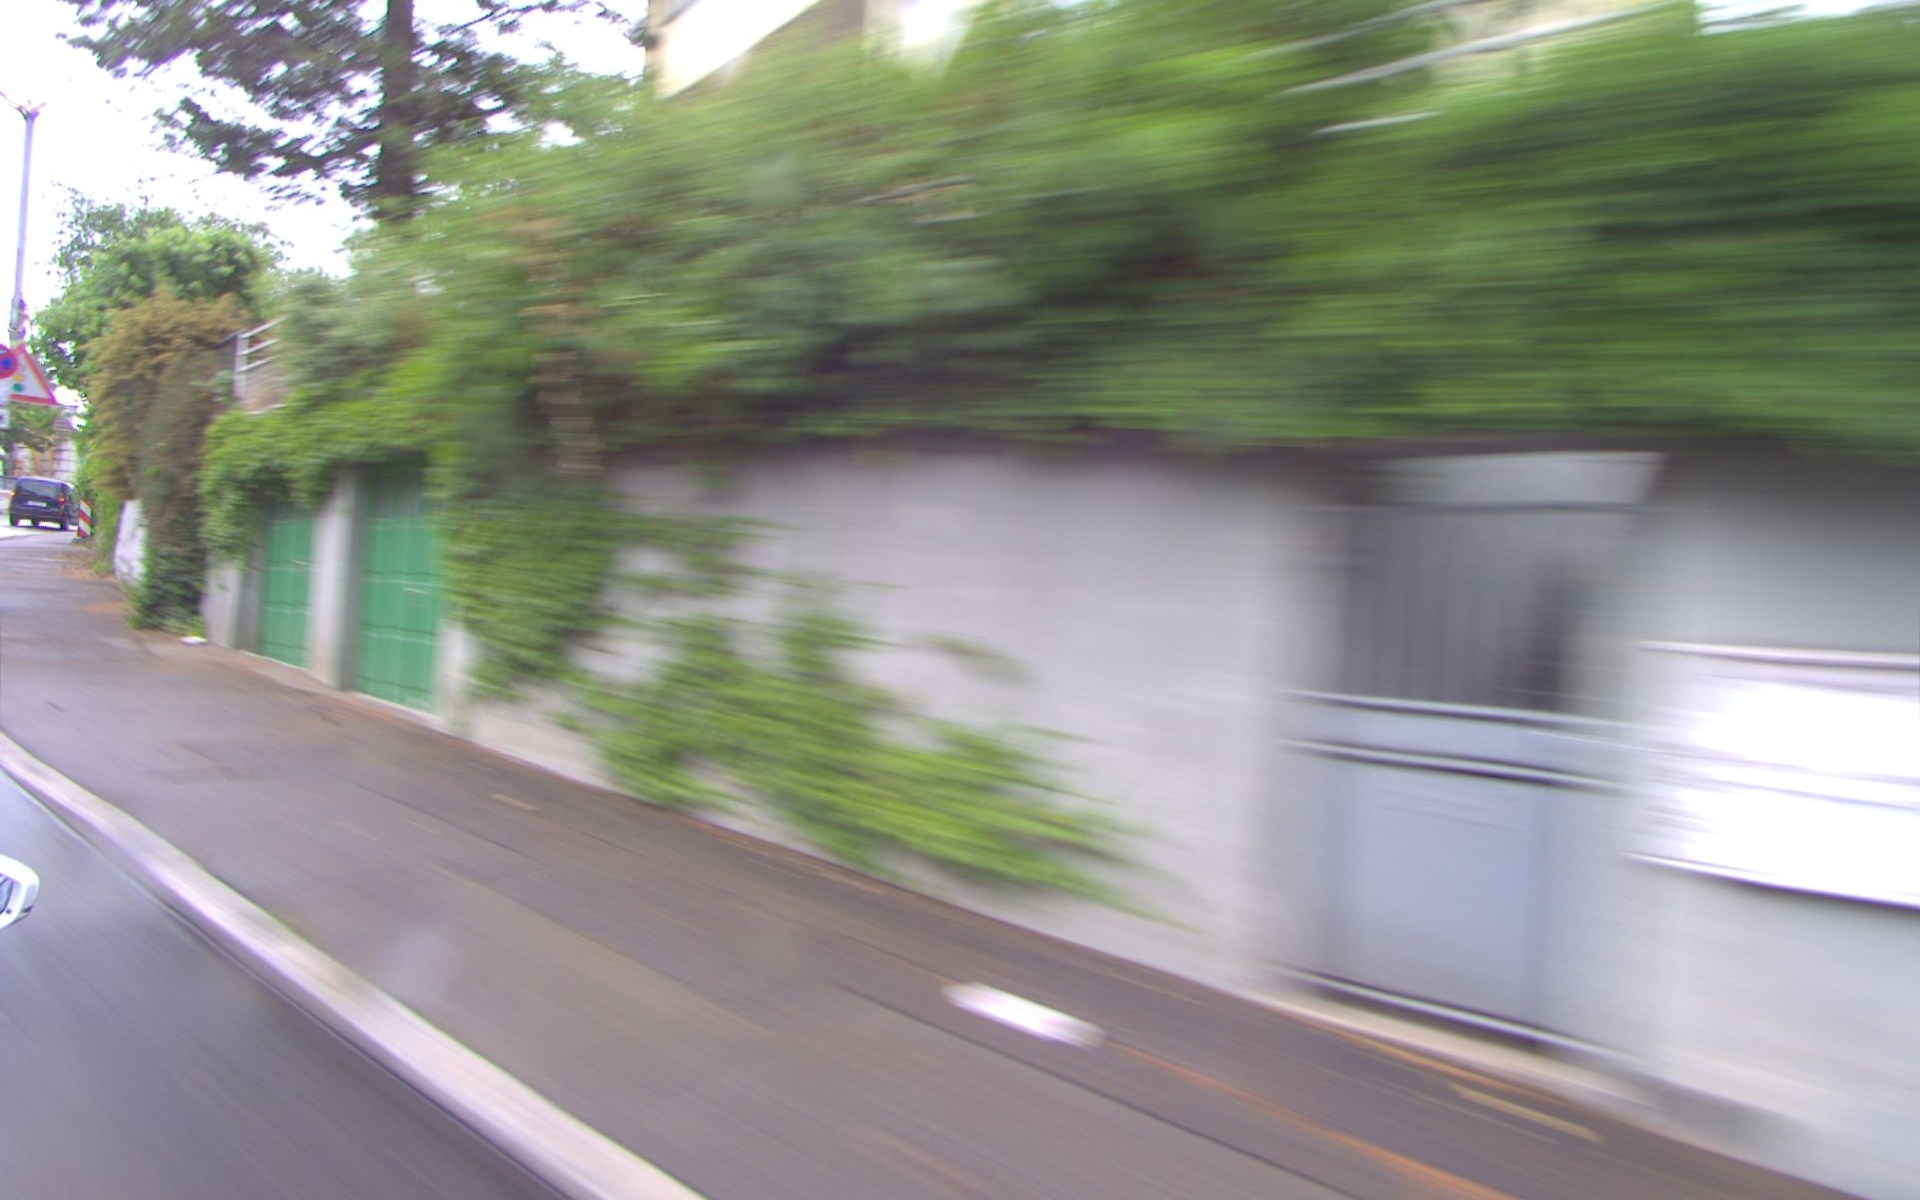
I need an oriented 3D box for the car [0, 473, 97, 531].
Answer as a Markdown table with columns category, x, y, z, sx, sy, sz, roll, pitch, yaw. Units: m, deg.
| category | x | y | z | sx | sy | sz | roll | pitch | yaw |
| --- | --- | --- | --- | --- | --- | --- | --- | --- | --- |
| car | -34.370 | -3.645 | 38.038 | 1.713 | 1.920 | 4.027 | 2 | 3 | -27 |
